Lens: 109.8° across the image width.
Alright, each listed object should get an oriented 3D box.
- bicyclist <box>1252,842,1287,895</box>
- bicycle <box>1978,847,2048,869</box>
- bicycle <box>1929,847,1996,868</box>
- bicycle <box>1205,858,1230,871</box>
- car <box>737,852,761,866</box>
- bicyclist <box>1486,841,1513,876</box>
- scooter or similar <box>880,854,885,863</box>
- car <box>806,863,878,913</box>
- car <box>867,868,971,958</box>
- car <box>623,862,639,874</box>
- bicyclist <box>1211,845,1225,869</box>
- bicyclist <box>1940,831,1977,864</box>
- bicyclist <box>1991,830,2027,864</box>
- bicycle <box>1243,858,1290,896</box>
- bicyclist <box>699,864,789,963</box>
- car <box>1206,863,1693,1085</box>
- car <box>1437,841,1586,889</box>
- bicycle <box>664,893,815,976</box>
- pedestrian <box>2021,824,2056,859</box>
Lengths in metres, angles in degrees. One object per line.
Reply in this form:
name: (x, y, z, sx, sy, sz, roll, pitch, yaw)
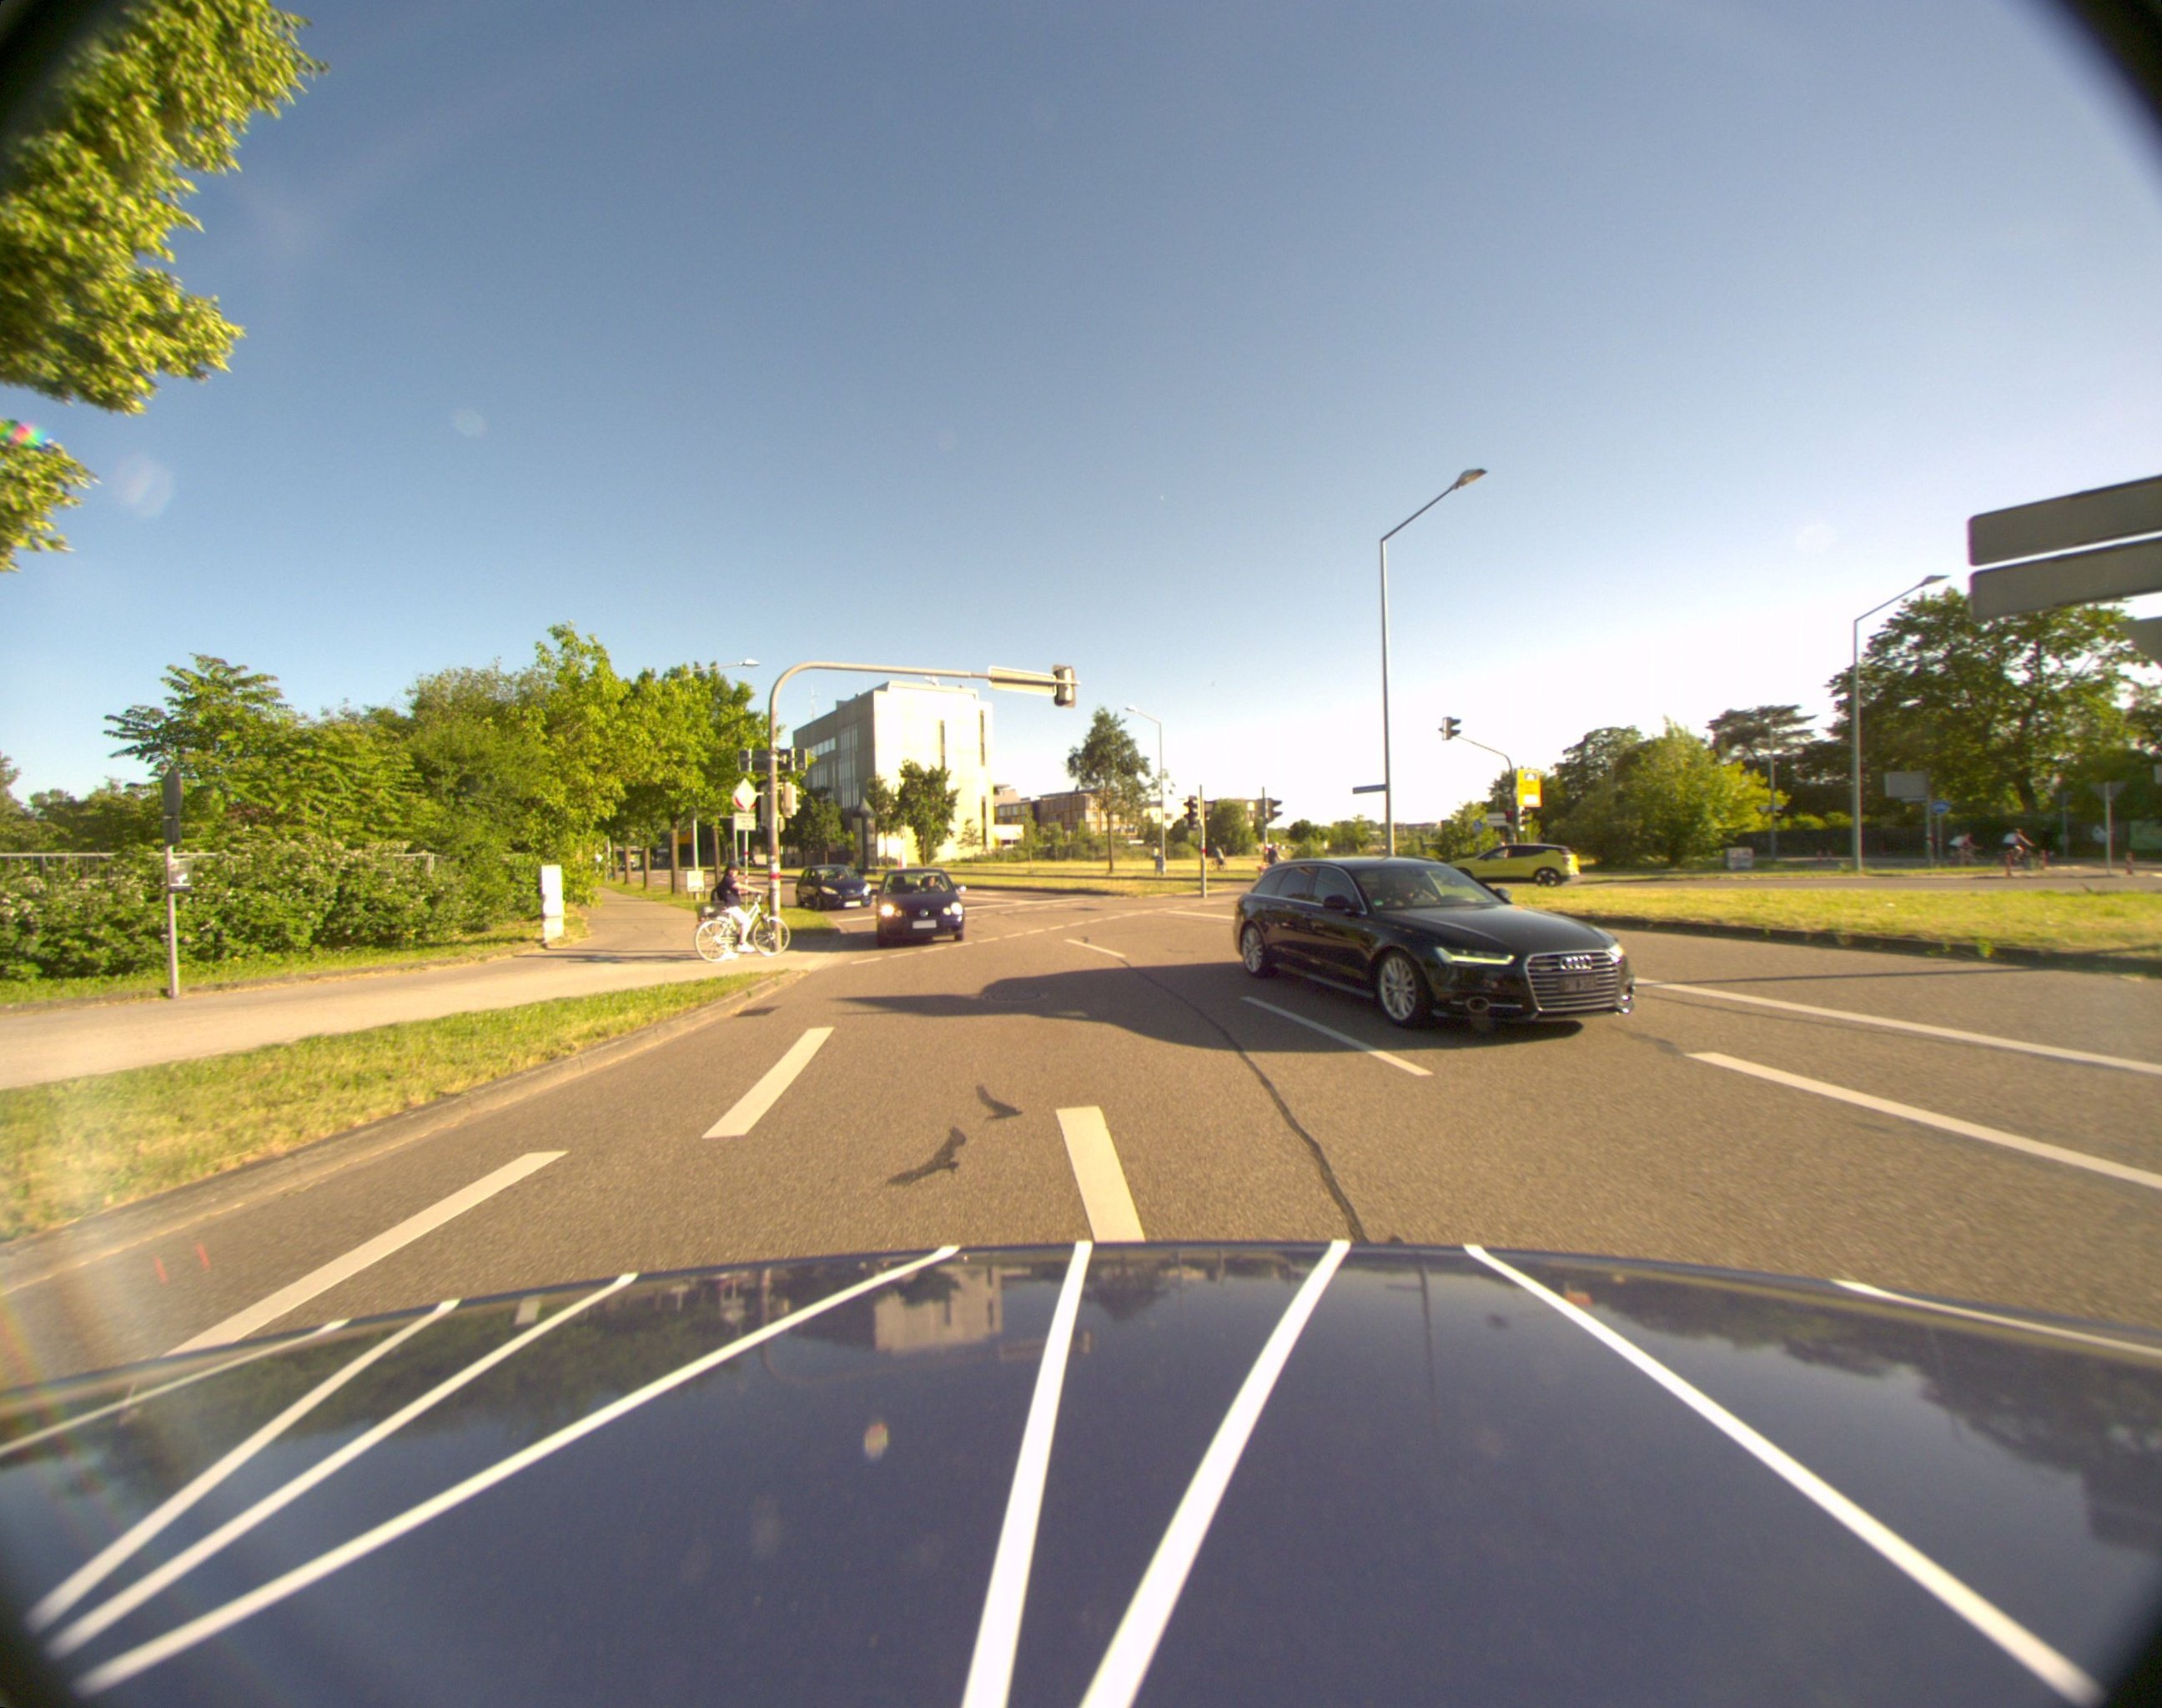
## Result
bicyclist: (6.099, 0.448, 24.589, 0.702, 1.654, 0.944, 1, 3, 45)
bicycle: (39.023, 0.170, 31.842, 1.886, 0.847, 0.618, -1, 1, 12)
bicycle: (37.968, 0.162, 32.743, 1.886, 0.847, 0.618, -1, 1, 12)
bicycle: (8.955, 0.669, 49.951, 0.492, 0.847, 1.884, -2, 1, -31)
car: (-45.578, 0.668, 104.264, 2.004, 1.729, 4.725, -2, 1, -37)
bicyclist: (18.453, 0.215, 33.526, 0.927, 1.508, 0.616, -2, 1, -30)
scooter or similar: (-24.600, 0.529, 94.176, 0.454, 1.104, 1.403, -2, 1, -22)
car: (-8.368, 1.123, 26.393, 1.760, 1.446, 3.991, -4, 2, -26)
car: (-3.508, 1.088, 15.855, 1.639, 1.459, 4.538, -2, 1, -18)
car: (-68.764, 2.136, 116.113, 2.003, 1.678, 3.990, -2, 1, -32)
bicyclist: (8.994, 0.204, 49.862, 0.433, 1.555, 0.849, -2, 1, -32)
bicyclist: (37.835, -0.292, 32.768, 0.836, 1.384, 0.618, -1, 1, 12)
bicyclist: (38.909, -0.286, 31.866, 0.718, 1.384, 0.618, -1, 1, 12)
bicycle: (5.971, 0.723, 24.450, 0.702, 1.122, 1.658, 1, 3, 45)
bicyclist: (-5.708, 0.971, 12.894, 0.874, 1.553, 1.090, 1, 1, 31)
car: (3.129, 0.866, 7.929, 1.799, 1.435, 5.011, -3, 0, -13)
car: (15.162, 0.383, 26.824, 4.313, 1.532, 2.013, -1, 1, 38)
bicycle: (-5.715, 1.299, 12.879, 0.874, 1.148, 2.221, 1, 1, 31)
pedestrian: (56.143, -0.716, 44.553, 0.900, 2.002, 0.819, -1, 2, 7)
